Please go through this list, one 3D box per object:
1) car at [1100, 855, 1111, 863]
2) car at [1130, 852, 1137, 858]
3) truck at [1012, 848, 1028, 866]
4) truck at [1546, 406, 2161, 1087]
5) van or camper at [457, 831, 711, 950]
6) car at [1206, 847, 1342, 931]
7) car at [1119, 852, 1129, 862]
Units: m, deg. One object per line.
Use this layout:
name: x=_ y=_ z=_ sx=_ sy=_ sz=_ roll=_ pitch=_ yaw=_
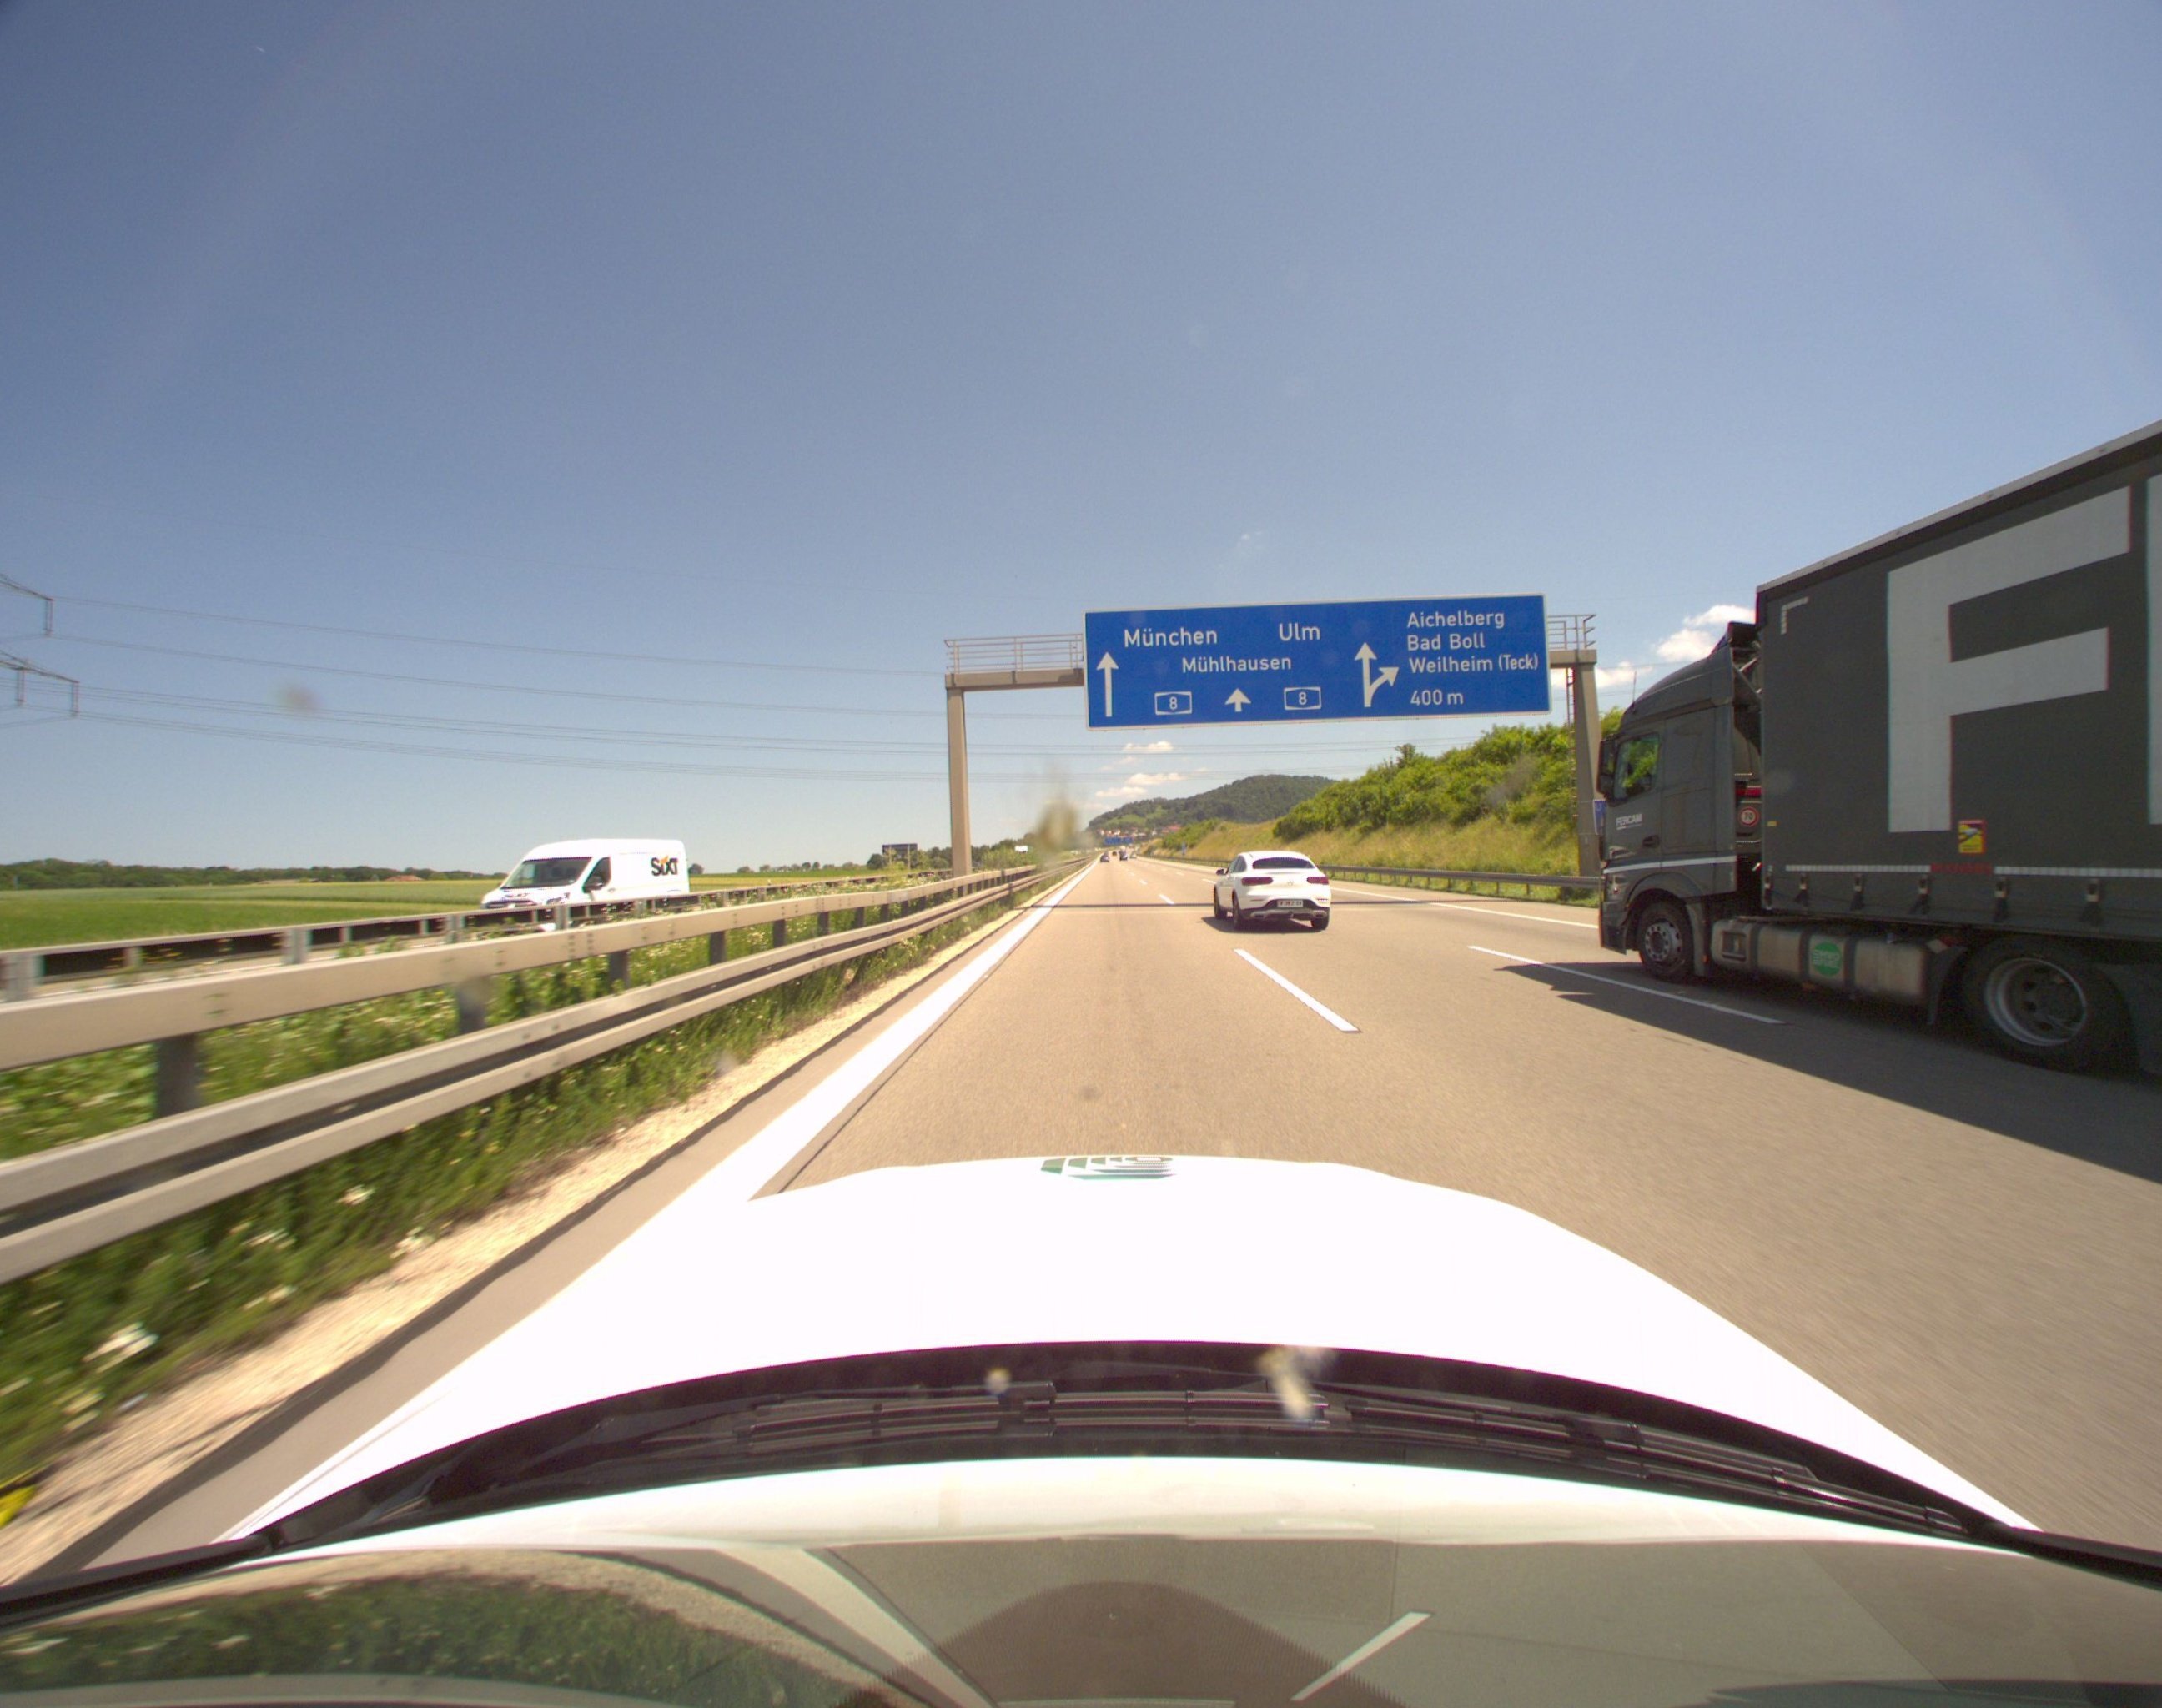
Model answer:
car: x=4.635 y=0.973 z=152.049 sx=1.986 sy=1.389 sz=4.002 roll=0 pitch=-1 yaw=2
car: x=14.954 y=0.316 z=231.602 sx=1.986 sy=1.818 sz=4.002 roll=-3 pitch=0 yaw=2
truck: x=-12.532 y=0.656 z=168.028 sx=2.714 sy=3.559 sz=5.901 roll=0 pitch=-1 yaw=1
truck: x=7.868 y=-0.613 z=8.134 sx=2.742 sy=4.020 sz=6.792 roll=0 pitch=-1 yaw=2
van or camper: x=-12.075 y=0.784 z=20.632 sx=2.219 sy=2.508 sz=6.599 roll=0 pitch=0 yaw=2
car: x=4.064 y=0.682 z=18.102 sx=1.907 sy=1.581 sz=5.232 roll=0 pitch=-1 yaw=1
car: x=9.309 y=0.650 z=176.816 sx=1.986 sy=2.014 sz=4.002 roll=0 pitch=-1 yaw=2
